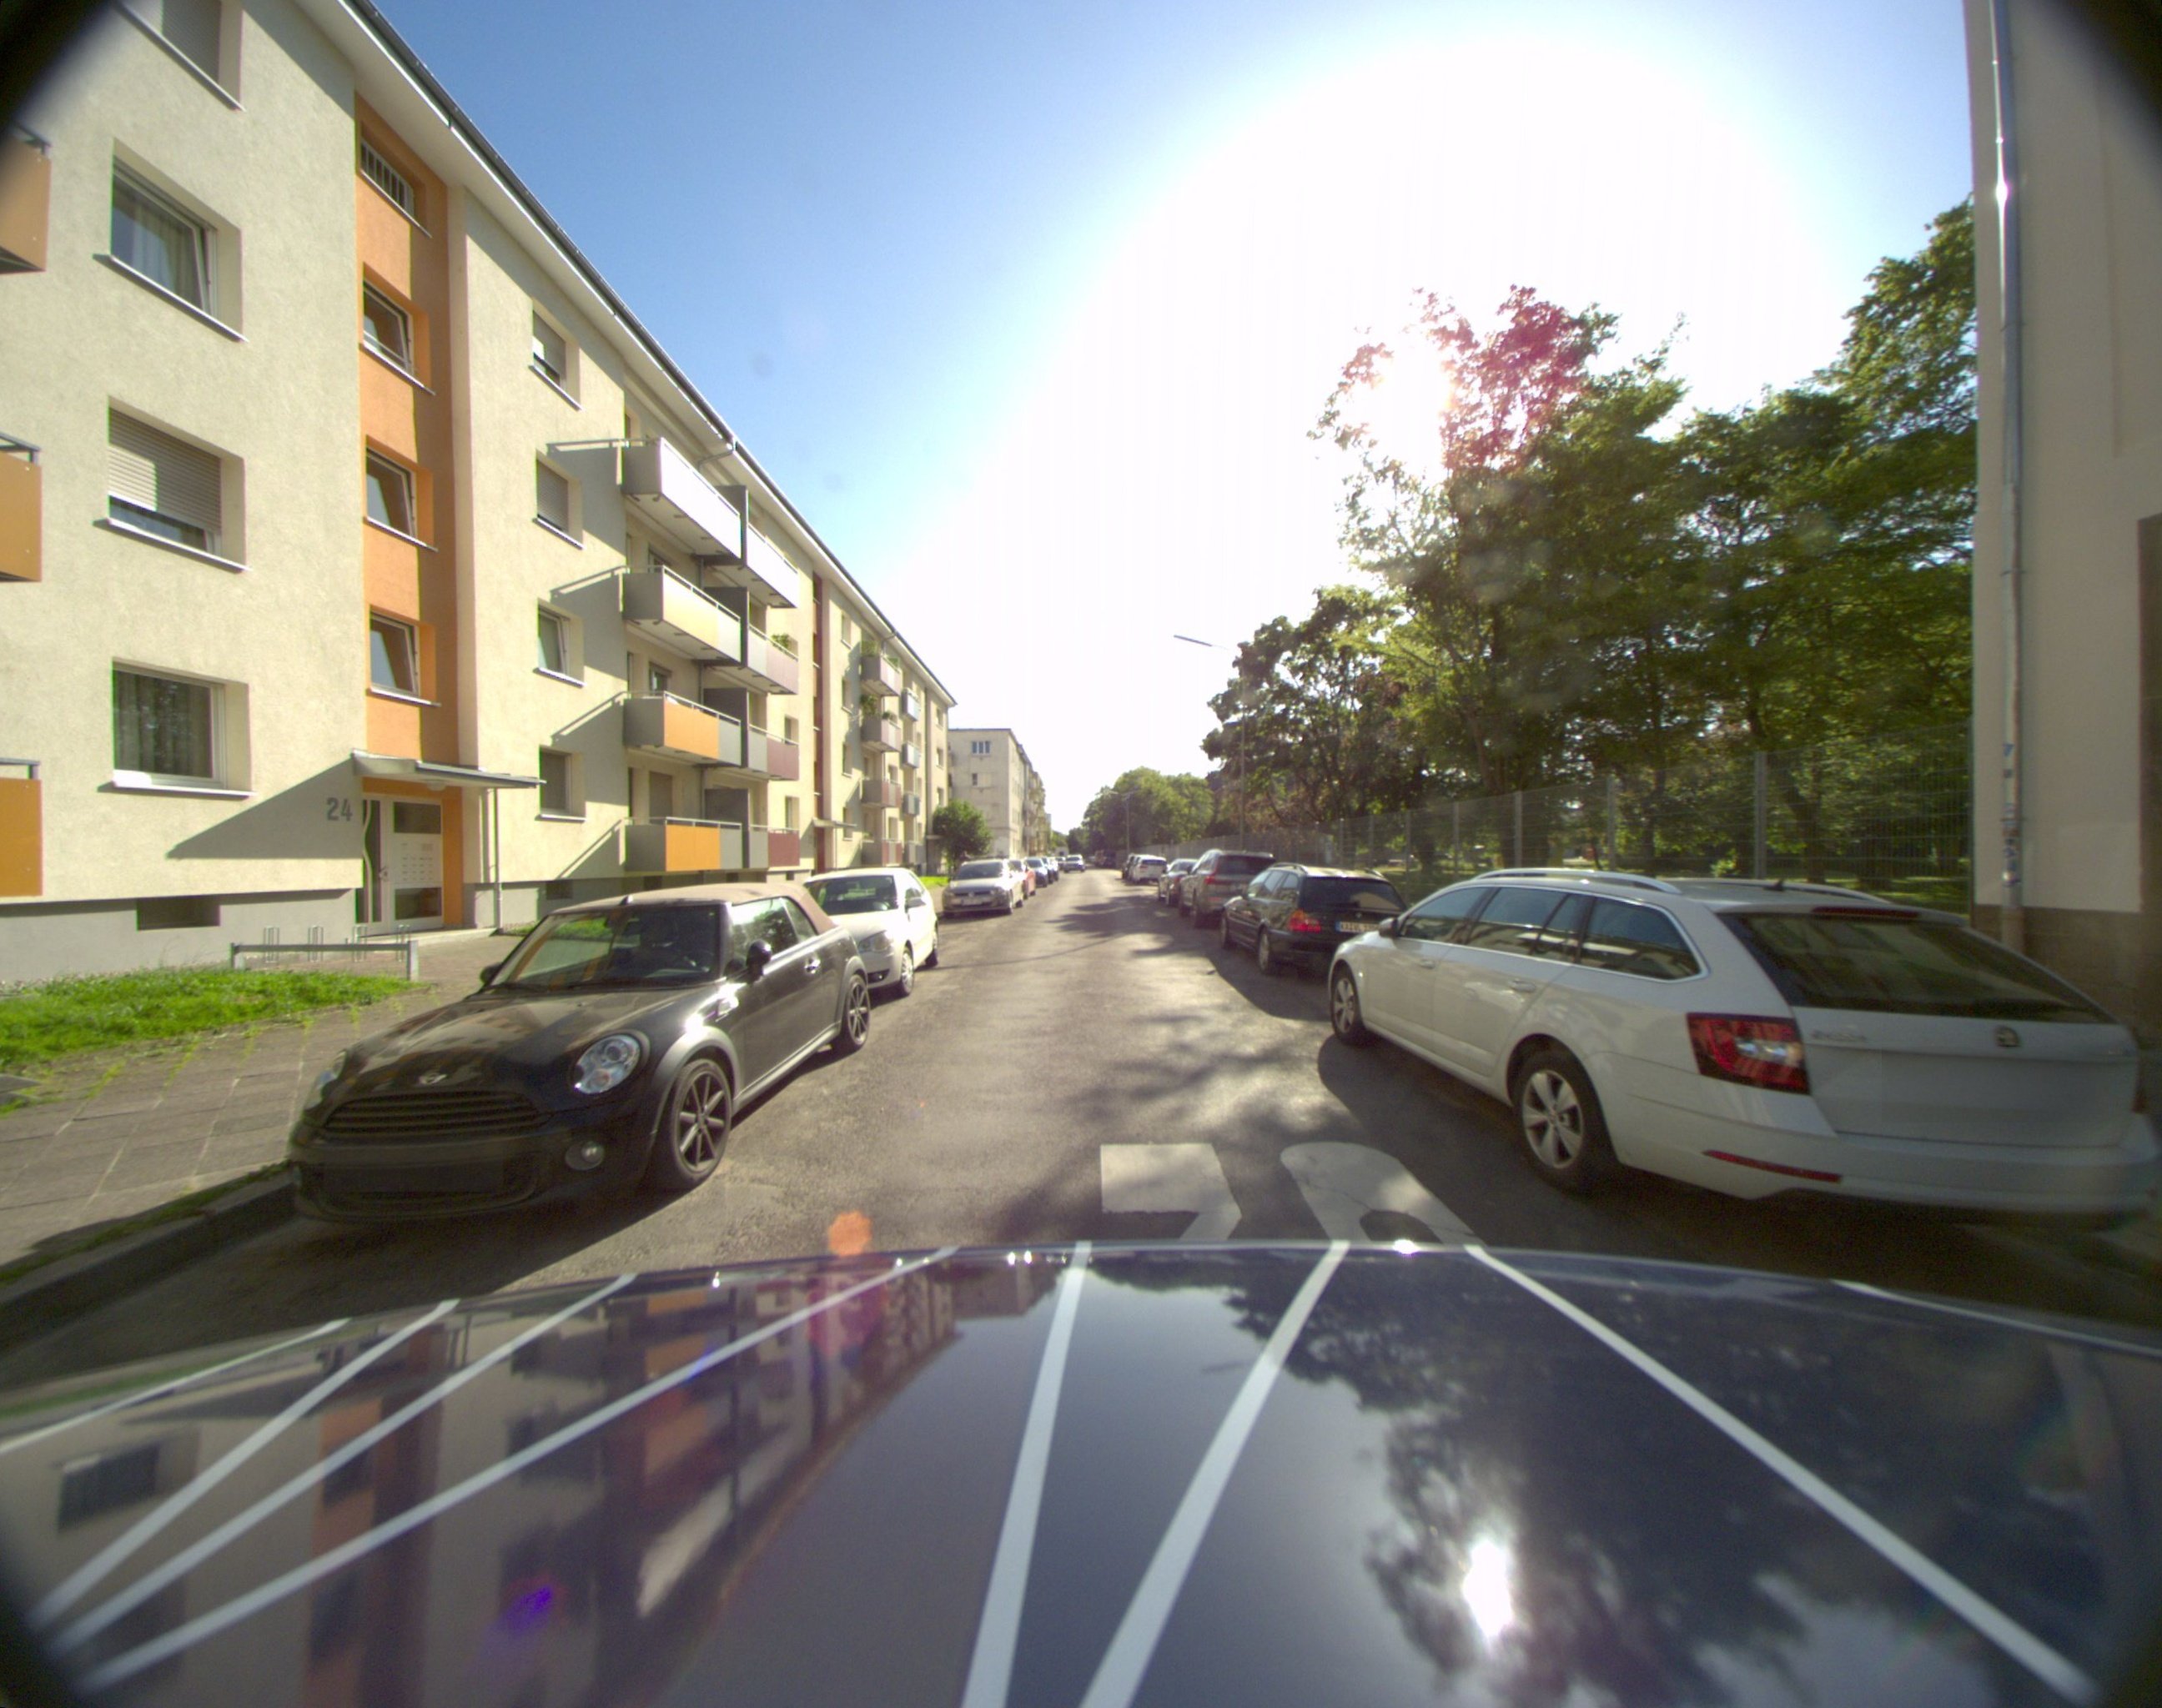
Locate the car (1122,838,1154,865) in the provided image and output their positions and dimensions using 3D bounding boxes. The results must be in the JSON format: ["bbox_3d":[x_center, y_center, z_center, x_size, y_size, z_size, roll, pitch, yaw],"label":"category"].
[{"bbox_3d":[3.773,-0.155,50.713,1.717,1.654,4.164,2,1,-1],"label":"car"}]

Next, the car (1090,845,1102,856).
[{"bbox_3d":[2.388,-0.499,119.580,1.652,1.674,3.999,-1,1,-2],"label":"car"}]

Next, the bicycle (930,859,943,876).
[{"bbox_3d":[-8.918,0.823,47.030,0.486,0.955,2.283,0,0,-3],"label":"bicycle"}]

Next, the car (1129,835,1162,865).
[{"bbox_3d":[3.833,-0.254,45.701,1.568,1.634,3.615,3,1,-1],"label":"car"}]

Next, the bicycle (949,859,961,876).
[{"bbox_3d":[-7.790,0.829,46.945,0.486,1.006,2.283,0,0,-3],"label":"bicycle"}]

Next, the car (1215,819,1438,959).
[{"bbox_3d":[3.183,0.364,10.877,1.796,1.554,4.459,1,1,1],"label":"car"}]

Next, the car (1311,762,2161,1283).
[{"bbox_3d":[3.122,0.566,4.679,1.797,1.532,4.641,5,0,-1],"label":"car"}]

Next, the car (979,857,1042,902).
[{"bbox_3d":[-2.525,0.877,28.209,1.756,1.435,4.523,-1,1,2],"label":"car"}]

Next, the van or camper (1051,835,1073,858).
[{"bbox_3d":[-2.663,-1.061,109.027,2.958,3.161,6.173,0,0,0],"label":"van or camper"}]

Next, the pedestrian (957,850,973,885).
[{"bbox_3d":[-6.062,0.705,39.783,0.647,1.761,0.841,-1,1,0],"label":"pedestrian"}]

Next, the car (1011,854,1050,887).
[{"bbox_3d":[-2.452,0.771,37.793,1.757,1.472,4.079,-2,1,-2],"label":"car"}]

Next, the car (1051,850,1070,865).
[{"bbox_3d":[-2.286,0.368,86.460,2.070,1.544,3.999,-2,1,-2],"label":"car"}]

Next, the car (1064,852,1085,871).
[{"bbox_3d":[-0.628,0.730,72.781,1.862,1.543,3.998,-3,2,-1],"label":"car"}]

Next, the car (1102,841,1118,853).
[{"bbox_3d":[3.598,-0.837,94.891,1.652,1.408,3.999,-2,1,-2],"label":"car"}]

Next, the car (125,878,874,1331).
[{"bbox_3d":[-2.714,1.026,4.696,1.692,1.458,3.582,-5,1,1],"label":"car"}]

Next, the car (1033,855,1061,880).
[{"bbox_3d":[-2.162,0.832,48.790,1.609,1.476,3.797,-1,1,-1],"label":"car"}]

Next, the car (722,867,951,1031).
[{"bbox_3d":[-2.777,0.986,9.546,1.690,1.454,3.818,-3,1,-2],"label":"car"}]

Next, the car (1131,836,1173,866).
[{"bbox_3d":[3.695,-0.168,40.127,1.798,1.436,4.119,1,0,0],"label":"car"}]

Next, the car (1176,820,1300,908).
[{"bbox_3d":[3.331,0.176,17.141,1.883,1.654,4.931,1,1,2],"label":"car"}]

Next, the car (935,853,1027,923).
[{"bbox_3d":[-2.635,0.834,21.079,1.903,1.612,4.601,-3,1,-1],"label":"car"}]

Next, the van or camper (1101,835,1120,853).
[{"bbox_3d":[3.864,-1.289,100.790,2.212,2.268,5.309,-2,1,-2],"label":"van or camper"}]

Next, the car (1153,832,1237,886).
[{"bbox_3d":[3.379,0.127,23.323,1.798,1.462,4.501,1,1,-1],"label":"car"}]

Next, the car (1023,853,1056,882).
[{"bbox_3d":[-2.345,0.735,43.643,1.757,1.550,4.254,-2,1,-2],"label":"car"}]

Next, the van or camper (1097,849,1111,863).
[{"bbox_3d":[3.975,0.324,132.088,2.126,2.484,3.999,-1,1,-2],"label":"van or camper"}]
